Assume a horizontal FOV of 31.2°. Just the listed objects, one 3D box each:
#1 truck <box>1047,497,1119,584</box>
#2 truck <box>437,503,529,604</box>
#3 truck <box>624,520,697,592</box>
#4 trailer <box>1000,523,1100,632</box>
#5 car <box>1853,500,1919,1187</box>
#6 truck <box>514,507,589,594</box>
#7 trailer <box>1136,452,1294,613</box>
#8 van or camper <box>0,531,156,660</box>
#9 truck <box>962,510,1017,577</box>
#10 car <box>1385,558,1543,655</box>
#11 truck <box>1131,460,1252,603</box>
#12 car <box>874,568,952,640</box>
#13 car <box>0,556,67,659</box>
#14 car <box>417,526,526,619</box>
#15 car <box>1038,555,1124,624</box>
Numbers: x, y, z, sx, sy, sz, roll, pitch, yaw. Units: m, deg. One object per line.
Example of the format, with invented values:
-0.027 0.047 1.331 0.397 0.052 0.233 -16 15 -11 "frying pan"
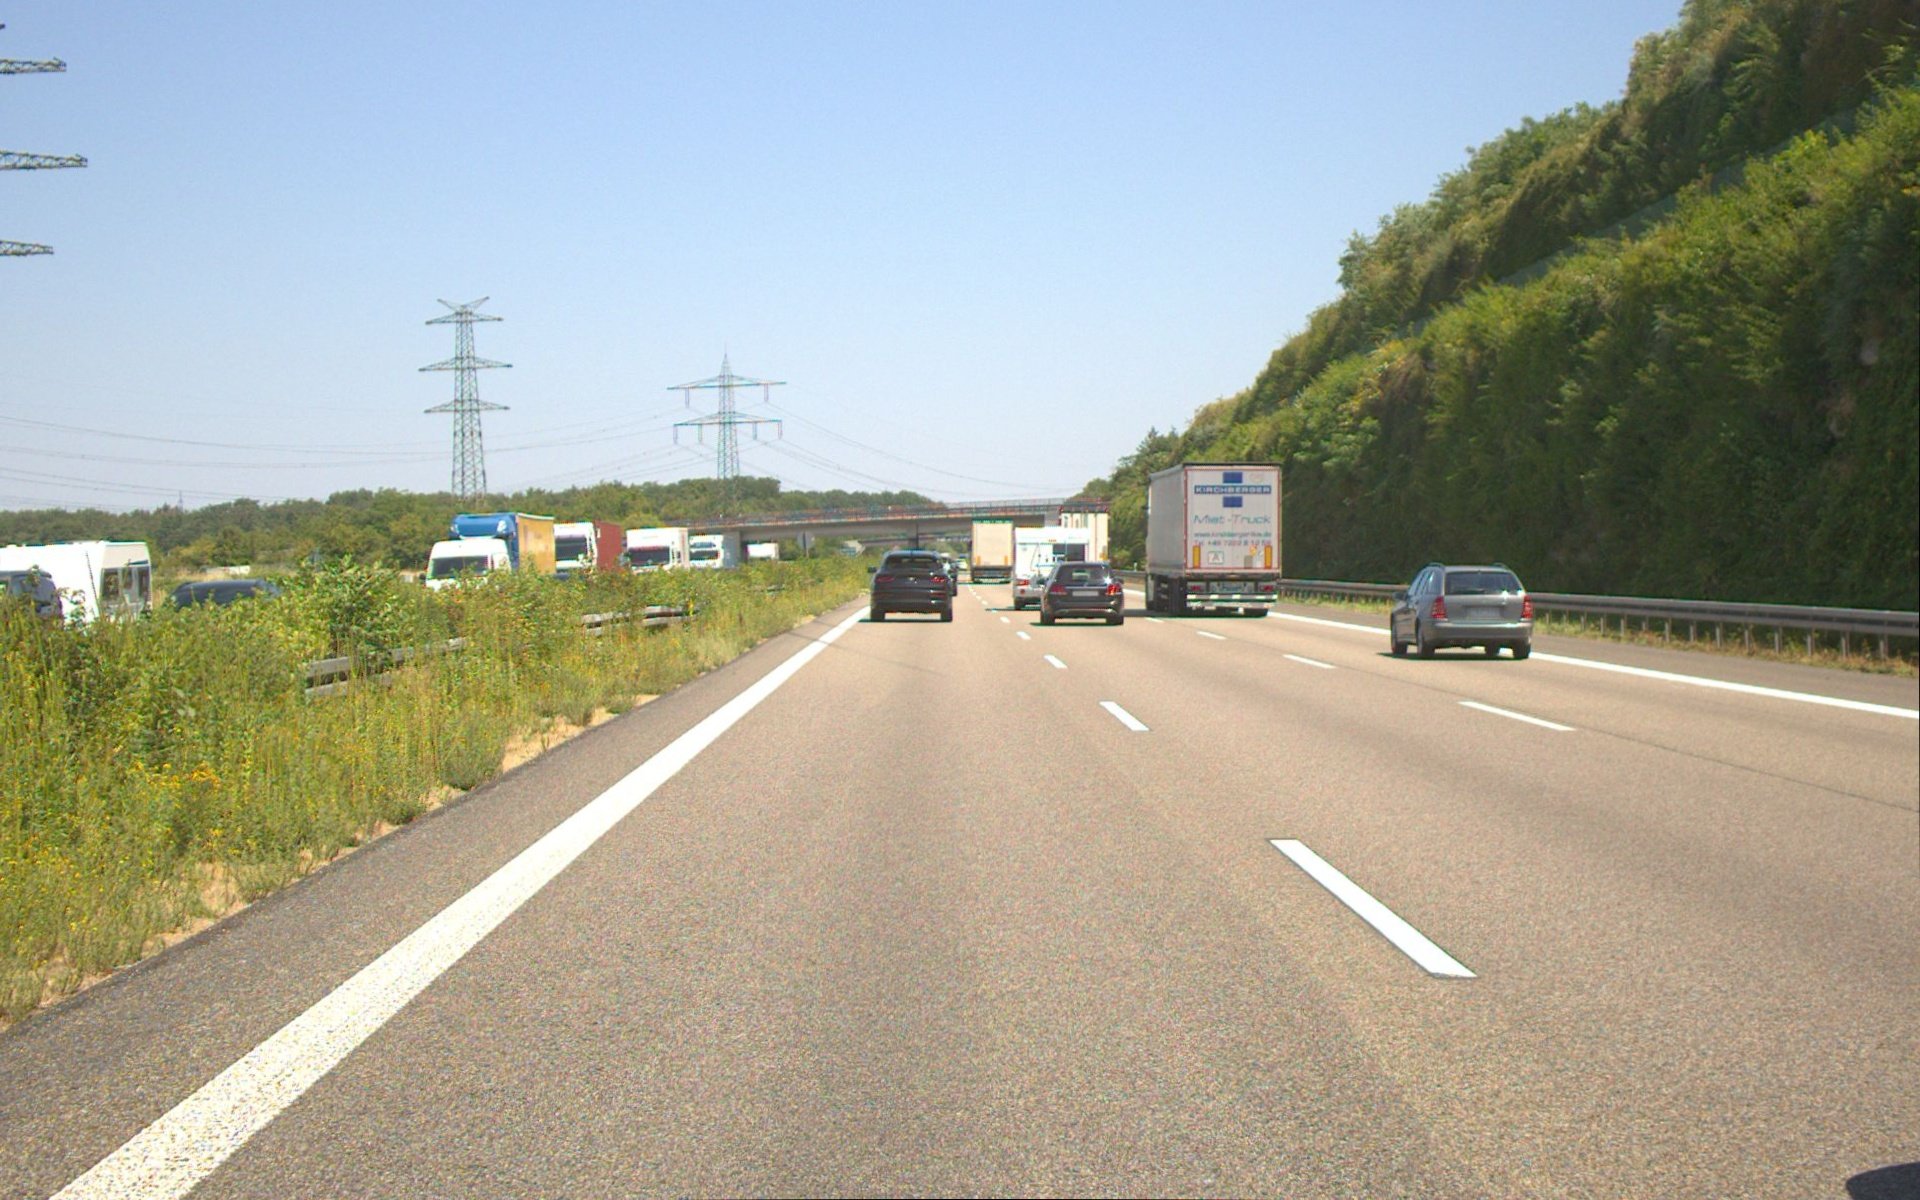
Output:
6.254 -3.059 176.769 3.119 4.265 11.934 -1 1 0 "truck"
-19.150 -1.867 138.289 2.863 3.894 5.621 -1 1 0 "truck"
-14.825 -2.196 170.548 2.936 3.401 9.367 -1 1 -1 "truck"
2.742 -0.740 107.378 2.610 3.202 9.953 -1 1 -1 "trailer"
3.216 0.601 6.754 1.794 1.647 4.138 0 1 -1 "car"
-20.179 -2.446 170.095 3.212 4.144 6.440 -1 1 -3 "truck"
6.960 -1.836 95.811 3.183 4.107 13.432 -1 1 -1 "trailer"
-18.579 -0.127 71.010 2.443 2.509 6.484 -1 1 -1 "van or camper"
1.898 -3.696 226.603 3.409 4.265 10.608 -1 1 0 "truck"
7.754 0.065 53.243 1.684 1.423 4.454 0 1 -1 "car"
6.884 -2.033 102.884 3.136 4.127 5.504 -1 1 0 "truck"
-1.151 0.080 84.198 1.830 1.665 4.000 -1 1 -1 "car"
-18.372 0.132 64.457 2.047 1.848 4.870 -1 1 -1 "car"
-14.645 -0.853 103.422 2.105 2.622 7.467 -3 1 0 "car"
2.801 -0.272 80.190 1.830 1.520 4.000 -1 1 0 "car"
